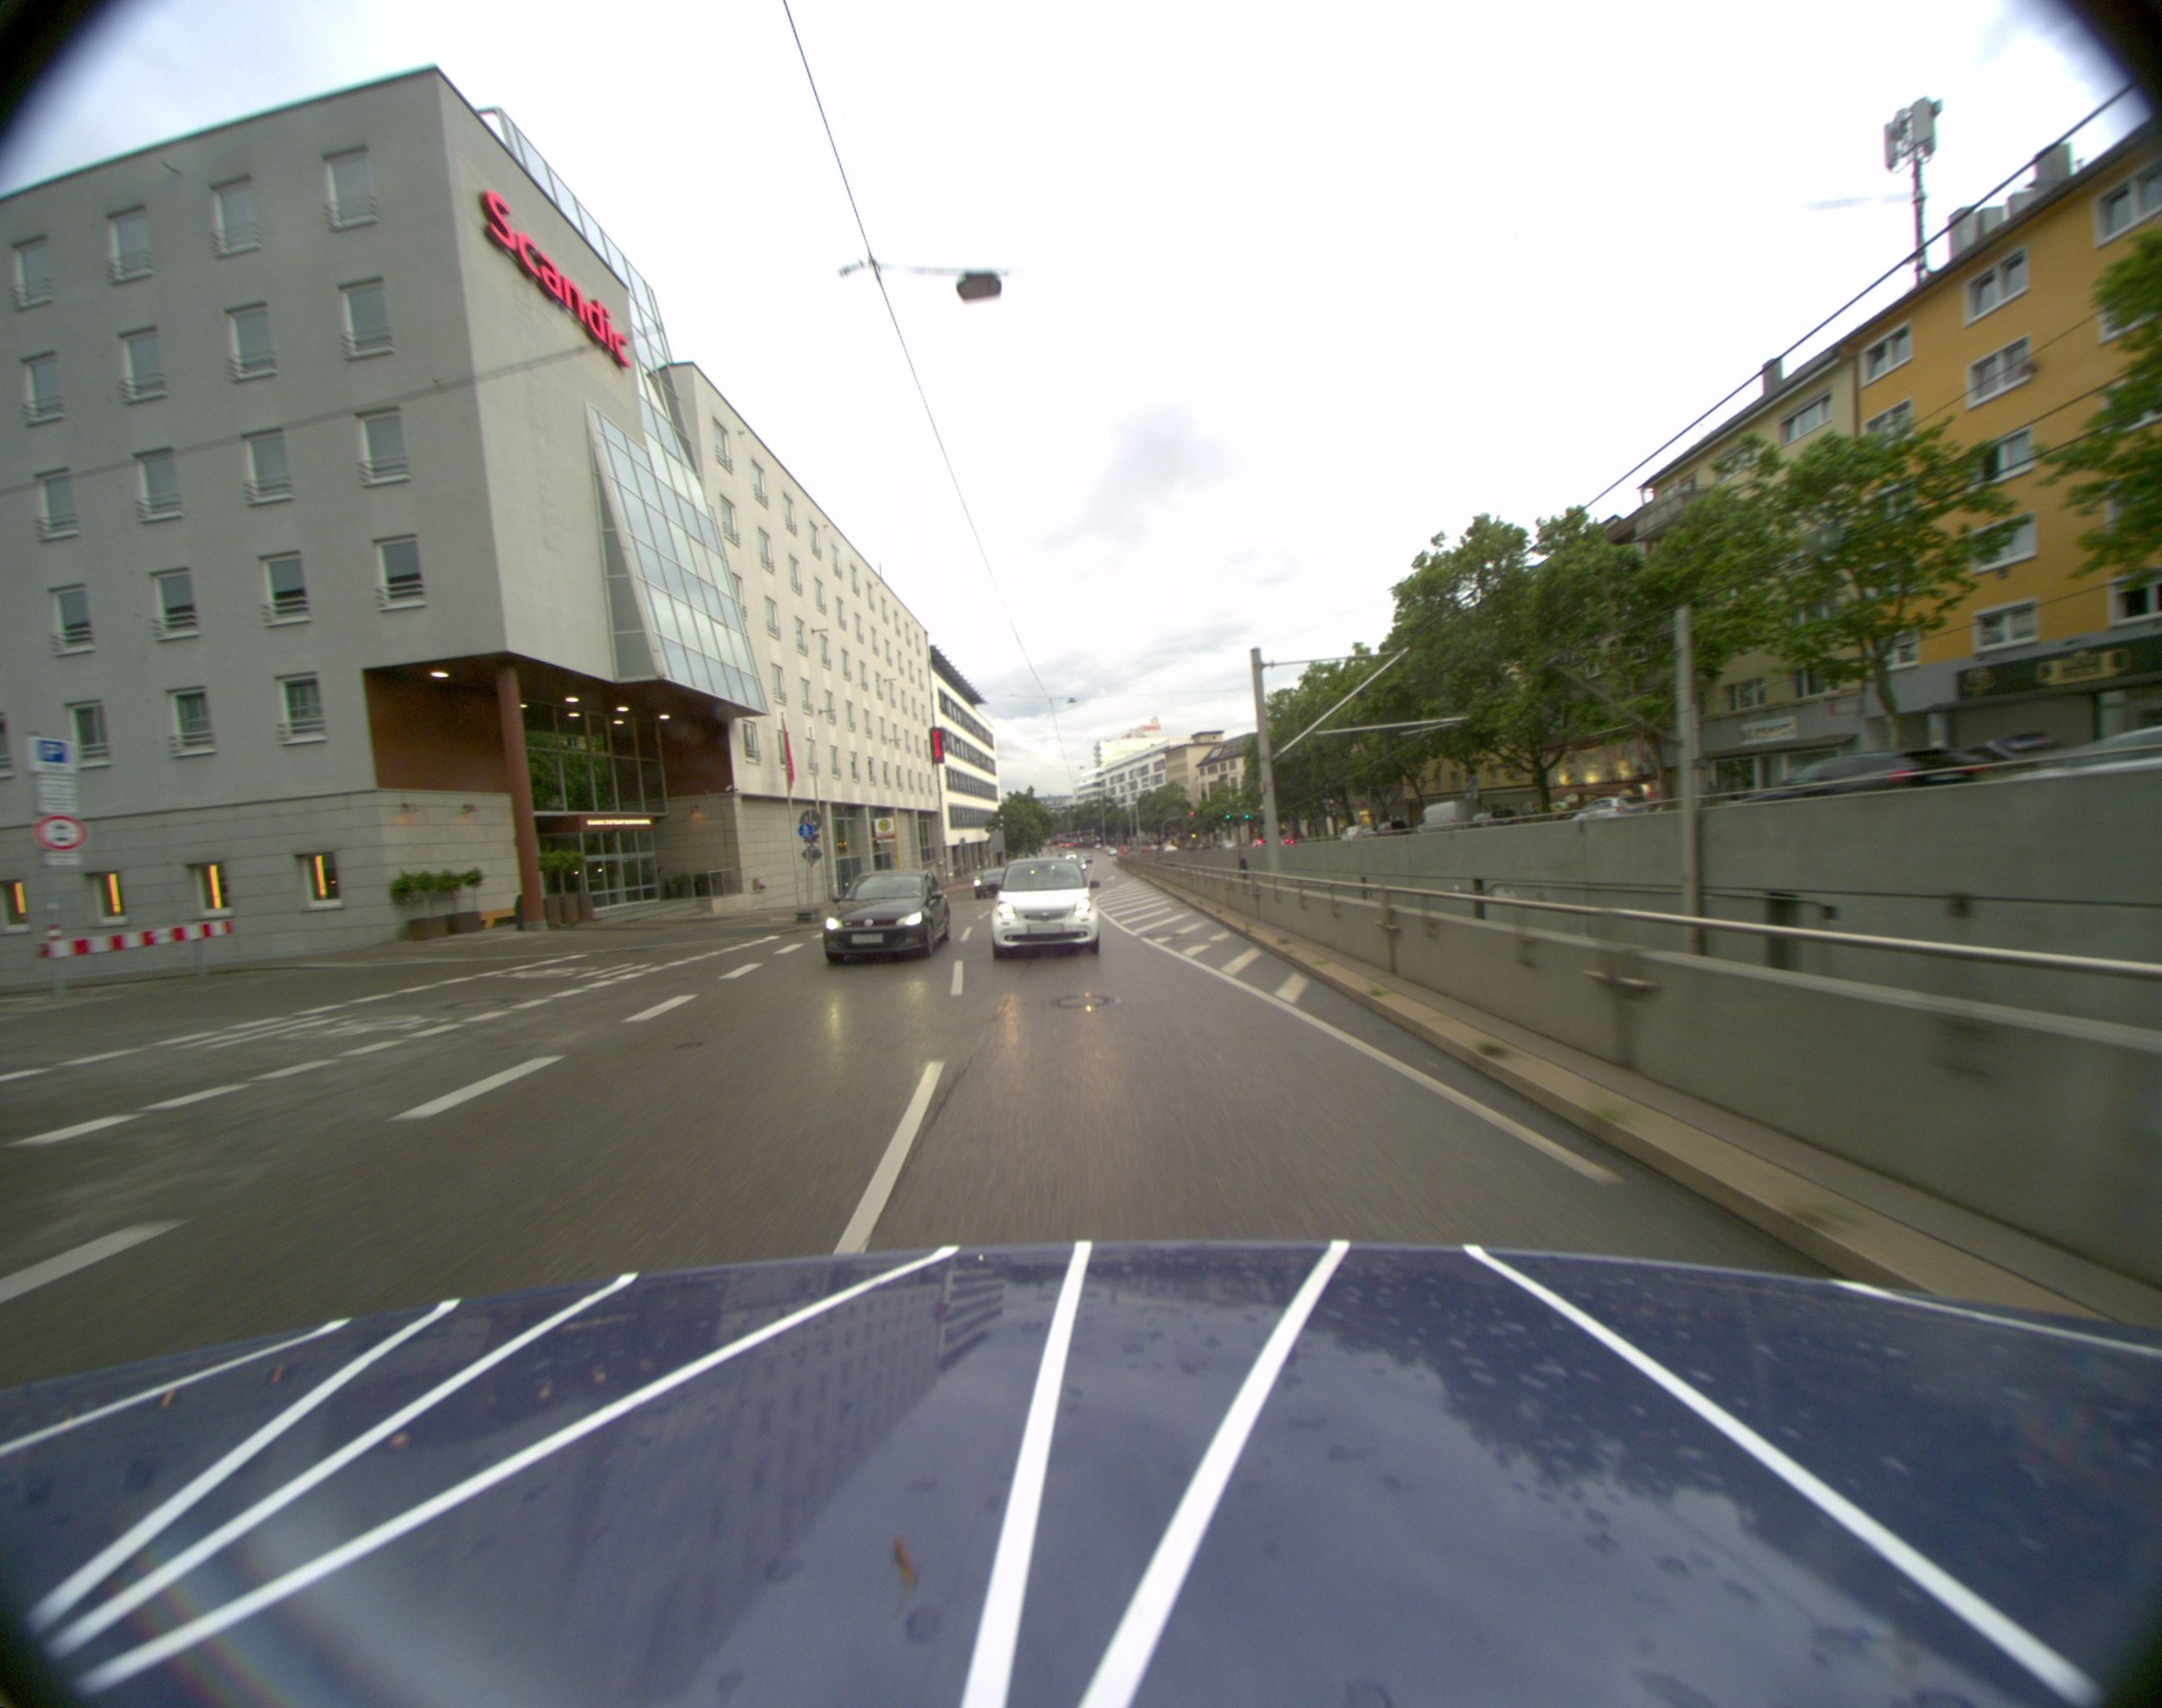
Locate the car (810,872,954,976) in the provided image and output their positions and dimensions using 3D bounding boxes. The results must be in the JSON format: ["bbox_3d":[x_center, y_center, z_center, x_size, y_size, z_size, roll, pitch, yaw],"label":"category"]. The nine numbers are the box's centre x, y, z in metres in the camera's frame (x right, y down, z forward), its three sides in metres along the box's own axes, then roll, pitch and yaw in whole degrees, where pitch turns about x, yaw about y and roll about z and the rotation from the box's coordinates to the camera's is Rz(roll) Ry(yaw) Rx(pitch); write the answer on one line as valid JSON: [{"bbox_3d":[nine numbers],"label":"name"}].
[{"bbox_3d":[-3.312,1.099,13.371,1.678,1.391,3.847,-3,0,-3],"label":"car"}]

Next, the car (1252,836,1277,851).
[{"bbox_3d":[22.000,-1.205,91.227,2.031,1.501,4.884,-6,0,4],"label":"car"}]

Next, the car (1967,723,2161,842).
[{"bbox_3d":[14.952,-1.042,10.012,1.799,1.501,4.000,-6,0,1],"label":"car"}]

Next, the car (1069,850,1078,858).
[{"bbox_3d":[-1.590,0.050,162.866,1.799,1.501,3.999,-7,1,-2],"label":"car"}]

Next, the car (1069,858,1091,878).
[{"bbox_3d":[-0.086,1.261,69.676,1.799,1.501,3.999,-7,1,1],"label":"car"}]

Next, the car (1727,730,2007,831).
[{"bbox_3d":[19.283,-1.680,19.094,1.960,1.841,4.969,-6,0,4],"label":"car"}]

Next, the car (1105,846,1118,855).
[{"bbox_3d":[6.718,-0.758,166.666,1.800,1.733,3.996,-7,1,-11],"label":"car"}]

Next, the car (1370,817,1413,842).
[{"bbox_3d":[26.154,-2.046,64.159,1.799,1.719,4.206,-6,0,1],"label":"car"}]

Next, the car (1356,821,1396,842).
[{"bbox_3d":[26.681,-1.997,68.944,1.881,1.574,4.473,-6,0,2],"label":"car"}]

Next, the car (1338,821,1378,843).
[{"bbox_3d":[26.958,-2.101,74.125,1.882,1.754,4.901,-6,0,-1],"label":"car"}]

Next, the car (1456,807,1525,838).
[{"bbox_3d":[24.809,-1.895,46.219,1.798,1.501,4.673,-6,0,3],"label":"car"}]

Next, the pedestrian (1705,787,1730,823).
[{"bbox_3d":[31.857,-2.431,38.029,0.524,1.738,0.622,-8,1,11],"label":"pedestrian"}]

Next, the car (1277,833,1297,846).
[{"bbox_3d":[28.119,-1.955,103.963,1.850,1.501,4.018,-6,0,6],"label":"car"}]

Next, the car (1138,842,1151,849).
[{"bbox_3d":[14.136,-1.922,168.398,1.590,1.393,3.876,-6,1,-15],"label":"car"}]

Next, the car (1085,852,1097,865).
[{"bbox_3d":[1.767,0.786,132.571,1.799,1.934,3.999,-6,1,-1],"label":"car"}]

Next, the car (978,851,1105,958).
[{"bbox_3d":[-0.530,0.779,13.332,1.798,1.528,4.001,-3,-1,2],"label":"car"}]

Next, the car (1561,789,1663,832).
[{"bbox_3d":[24.233,-1.922,34.877,1.798,1.562,4.209,-6,0,4],"label":"car"}]

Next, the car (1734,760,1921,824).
[{"bbox_3d":[23.230,-1.854,23.913,1.798,1.501,4.209,-6,0,4],"label":"car"}]

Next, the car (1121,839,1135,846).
[{"bbox_3d":[11.287,-2.716,182.469,1.800,1.548,4.830,-6,1,-14],"label":"car"}]

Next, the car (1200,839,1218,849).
[{"bbox_3d":[21.591,-1.650,128.256,1.799,1.501,4.342,-5,1,-5],"label":"car"}]

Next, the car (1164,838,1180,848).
[{"bbox_3d":[18.011,-2.067,150.289,1.800,1.760,4.727,-6,1,-8],"label":"car"}]

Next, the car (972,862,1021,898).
[{"bbox_3d":[-4.265,1.284,38.738,1.751,1.433,3.706,-6,1,3],"label":"car"}]

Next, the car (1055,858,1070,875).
[{"bbox_3d":[-2.586,1.696,103.861,1.799,1.934,3.999,-6,1,-1],"label":"car"}]

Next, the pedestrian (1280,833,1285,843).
[{"bbox_3d":[36.469,-2.950,137.580,0.590,1.799,0.674,-6,2,8],"label":"pedestrian"}]

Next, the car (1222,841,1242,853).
[{"bbox_3d":[22.672,-1.006,114.142,1.851,1.501,4.821,-6,0,-1],"label":"car"}]

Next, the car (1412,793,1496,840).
[{"bbox_3d":[25.476,-2.496,52.259,2.458,2.646,6.933,-6,0,3],"label":"car"}]

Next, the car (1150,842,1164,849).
[{"bbox_3d":[17.334,-1.934,173.561,1.800,1.501,3.996,-6,1,-13],"label":"car"}]

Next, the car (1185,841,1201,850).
[{"bbox_3d":[22.040,-1.748,149.939,1.800,1.501,3.996,-7,1,-11],"label":"car"}]

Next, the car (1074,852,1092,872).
[{"bbox_3d":[0.264,0.855,85.817,1.799,2.021,3.999,-7,1,1],"label":"car"}]
